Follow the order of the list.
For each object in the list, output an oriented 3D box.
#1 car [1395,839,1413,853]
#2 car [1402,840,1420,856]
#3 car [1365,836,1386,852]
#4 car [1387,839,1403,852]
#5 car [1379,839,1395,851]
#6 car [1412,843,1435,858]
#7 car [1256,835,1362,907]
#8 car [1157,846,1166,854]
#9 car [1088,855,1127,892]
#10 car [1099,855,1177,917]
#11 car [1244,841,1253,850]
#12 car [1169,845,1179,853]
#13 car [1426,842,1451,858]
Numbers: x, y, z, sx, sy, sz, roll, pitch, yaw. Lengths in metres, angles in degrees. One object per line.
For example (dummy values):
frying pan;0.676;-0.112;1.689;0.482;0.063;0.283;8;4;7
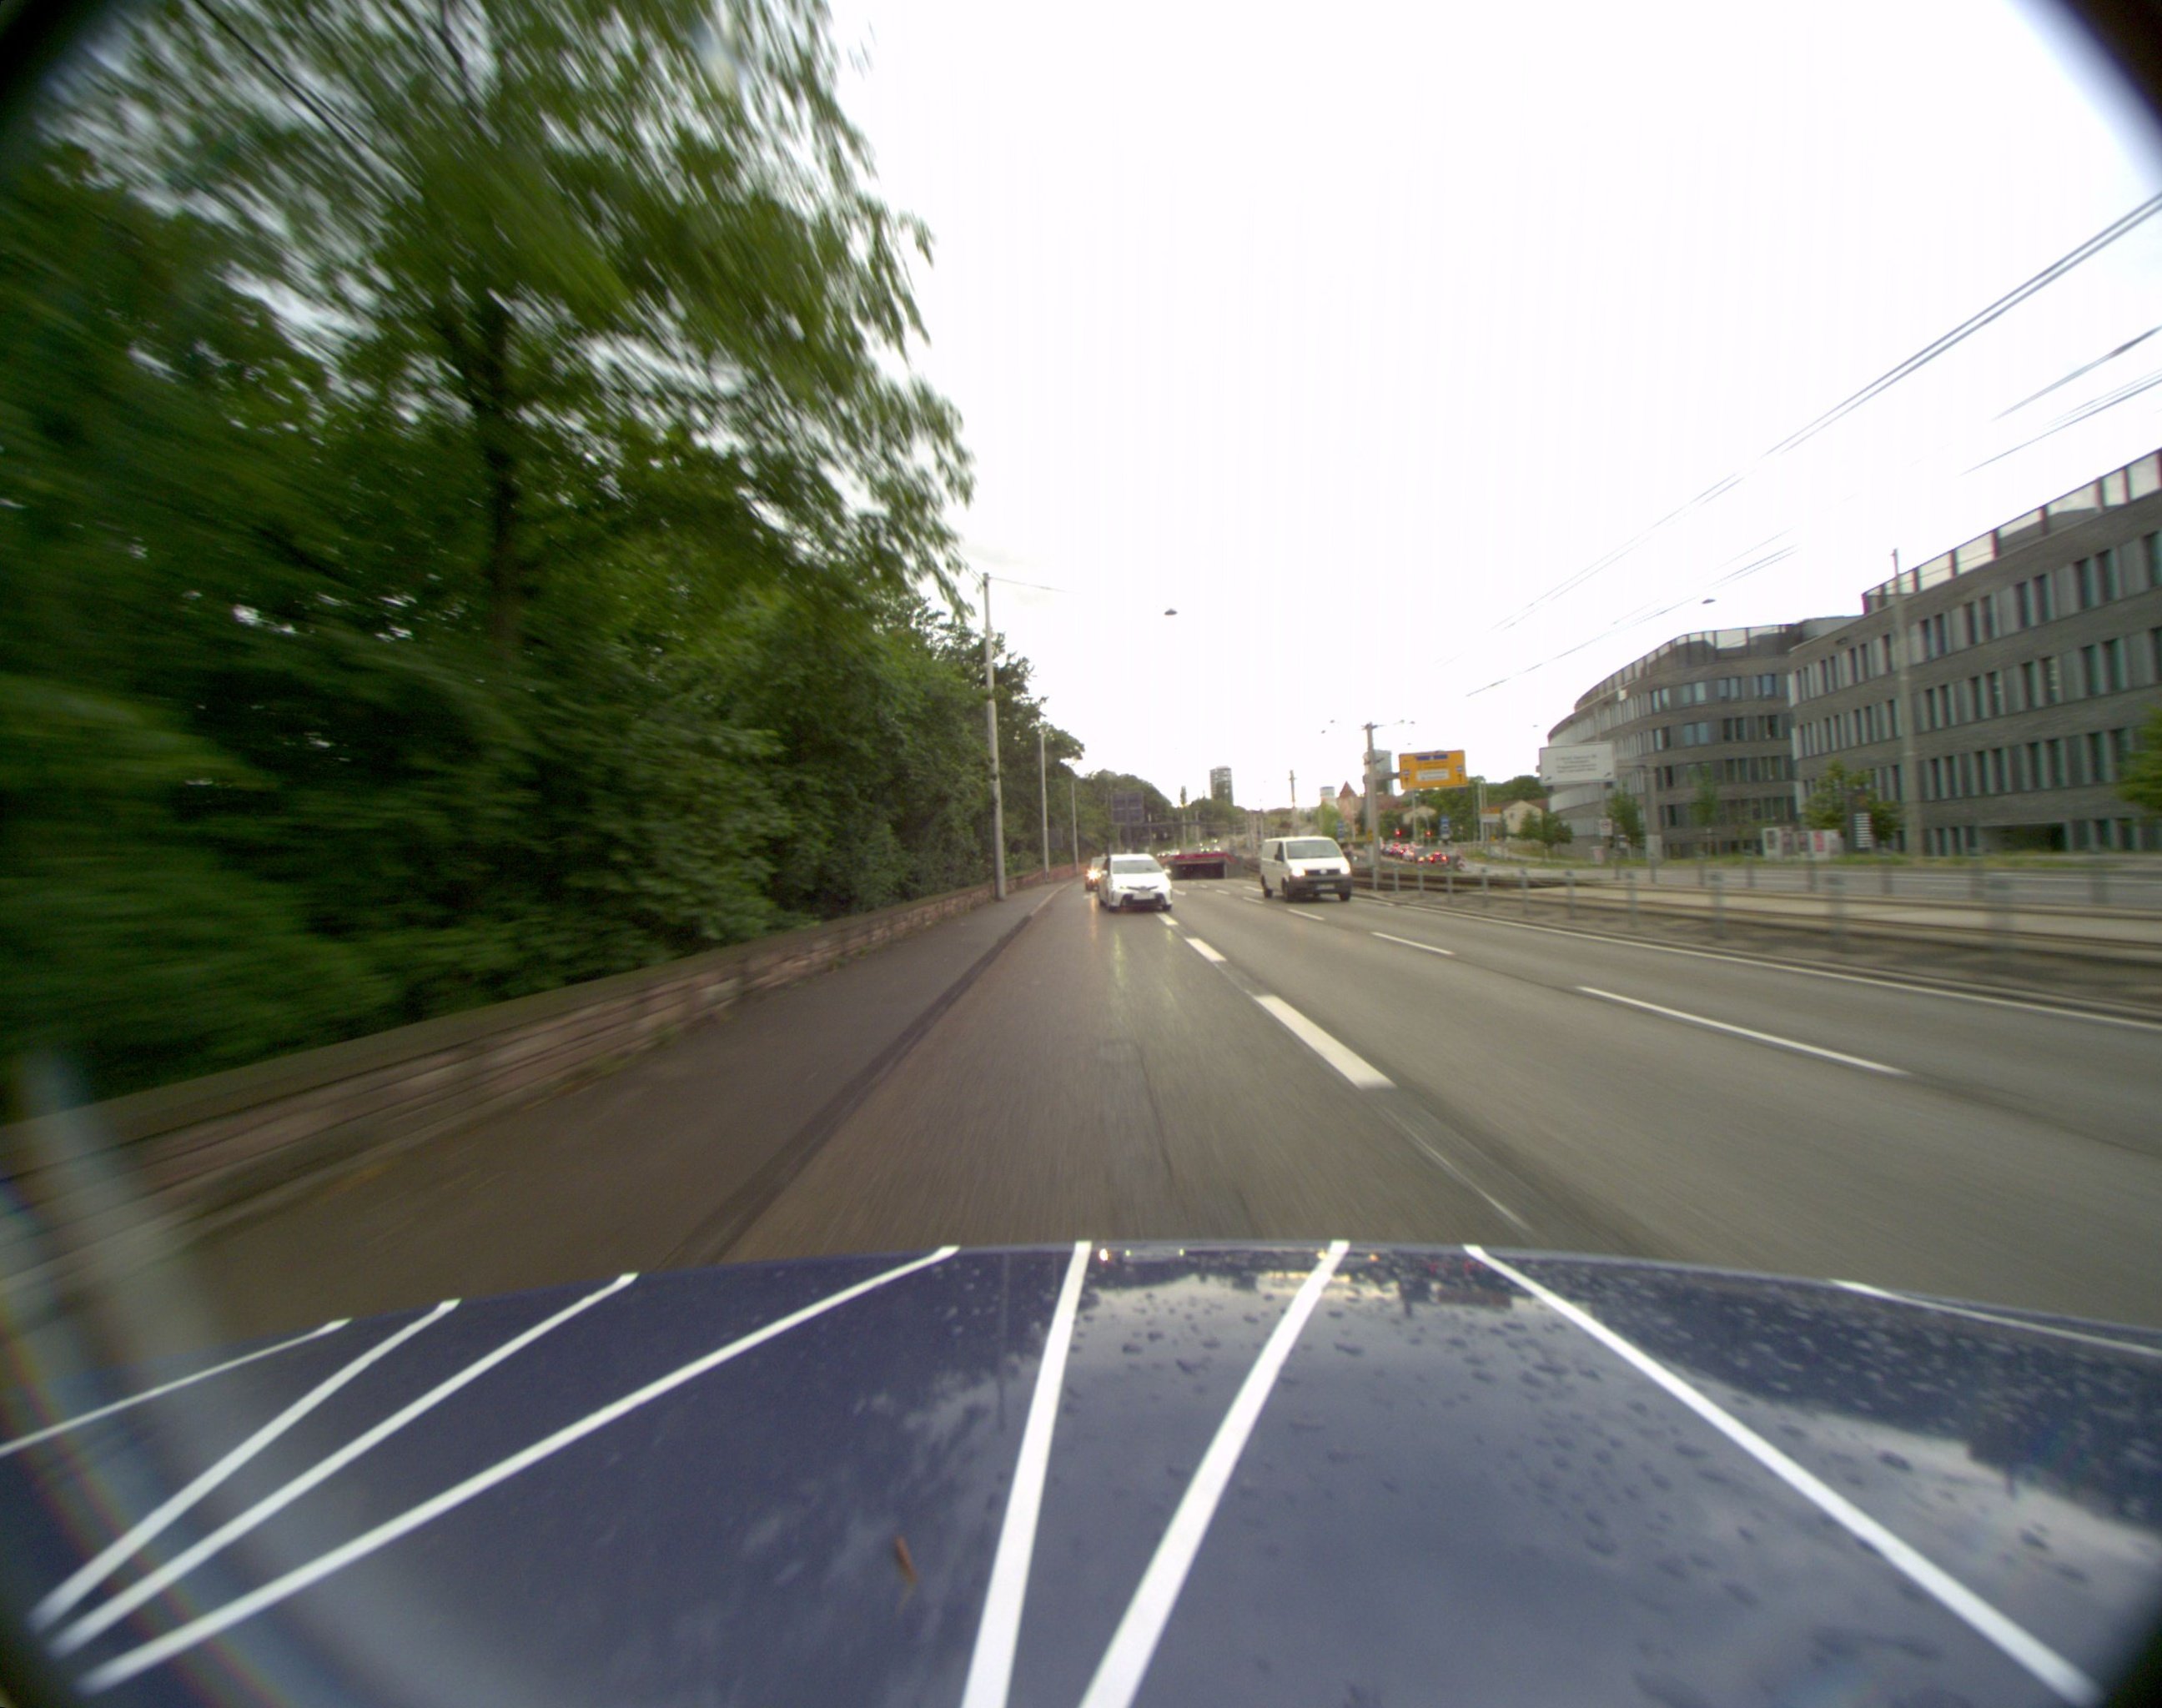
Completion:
car;44.896;-1.095;105.743;1.668;1.893;4.003;-2;1;13
car;43.224;-0.785;99.520;1.668;1.893;4.004;-2;1;17
car;49.053;-1.737;126.570;2.335;2.453;7.032;-2;1;14
car;46.353;-1.310;112.202;1.668;1.808;4.004;-2;1;15
car;48.091;-1.430;119.360;1.668;1.893;4.003;-2;1;14
car;42.446;-0.387;94.253;1.834;1.787;4.220;-1;0;15
car;6.957;0.470;23.747;1.914;1.947;4.718;-3;0;1
car;20.963;-1.040;197.324;1.998;2.002;3.999;-2;1;1
car;1.227;0.861;35.668;1.663;1.534;3.709;-3;0;1
car;1.571;0.855;22.367;1.982;1.564;4.319;-3;0;1
car;39.947;-2.100;181.199;1.997;1.936;4.002;-2;1;10
car;23.710;-1.209;193.991;1.998;2.002;3.999;-2;1;1
car;41.795;-0.454;88.868;1.834;1.787;4.220;-1;0;15
